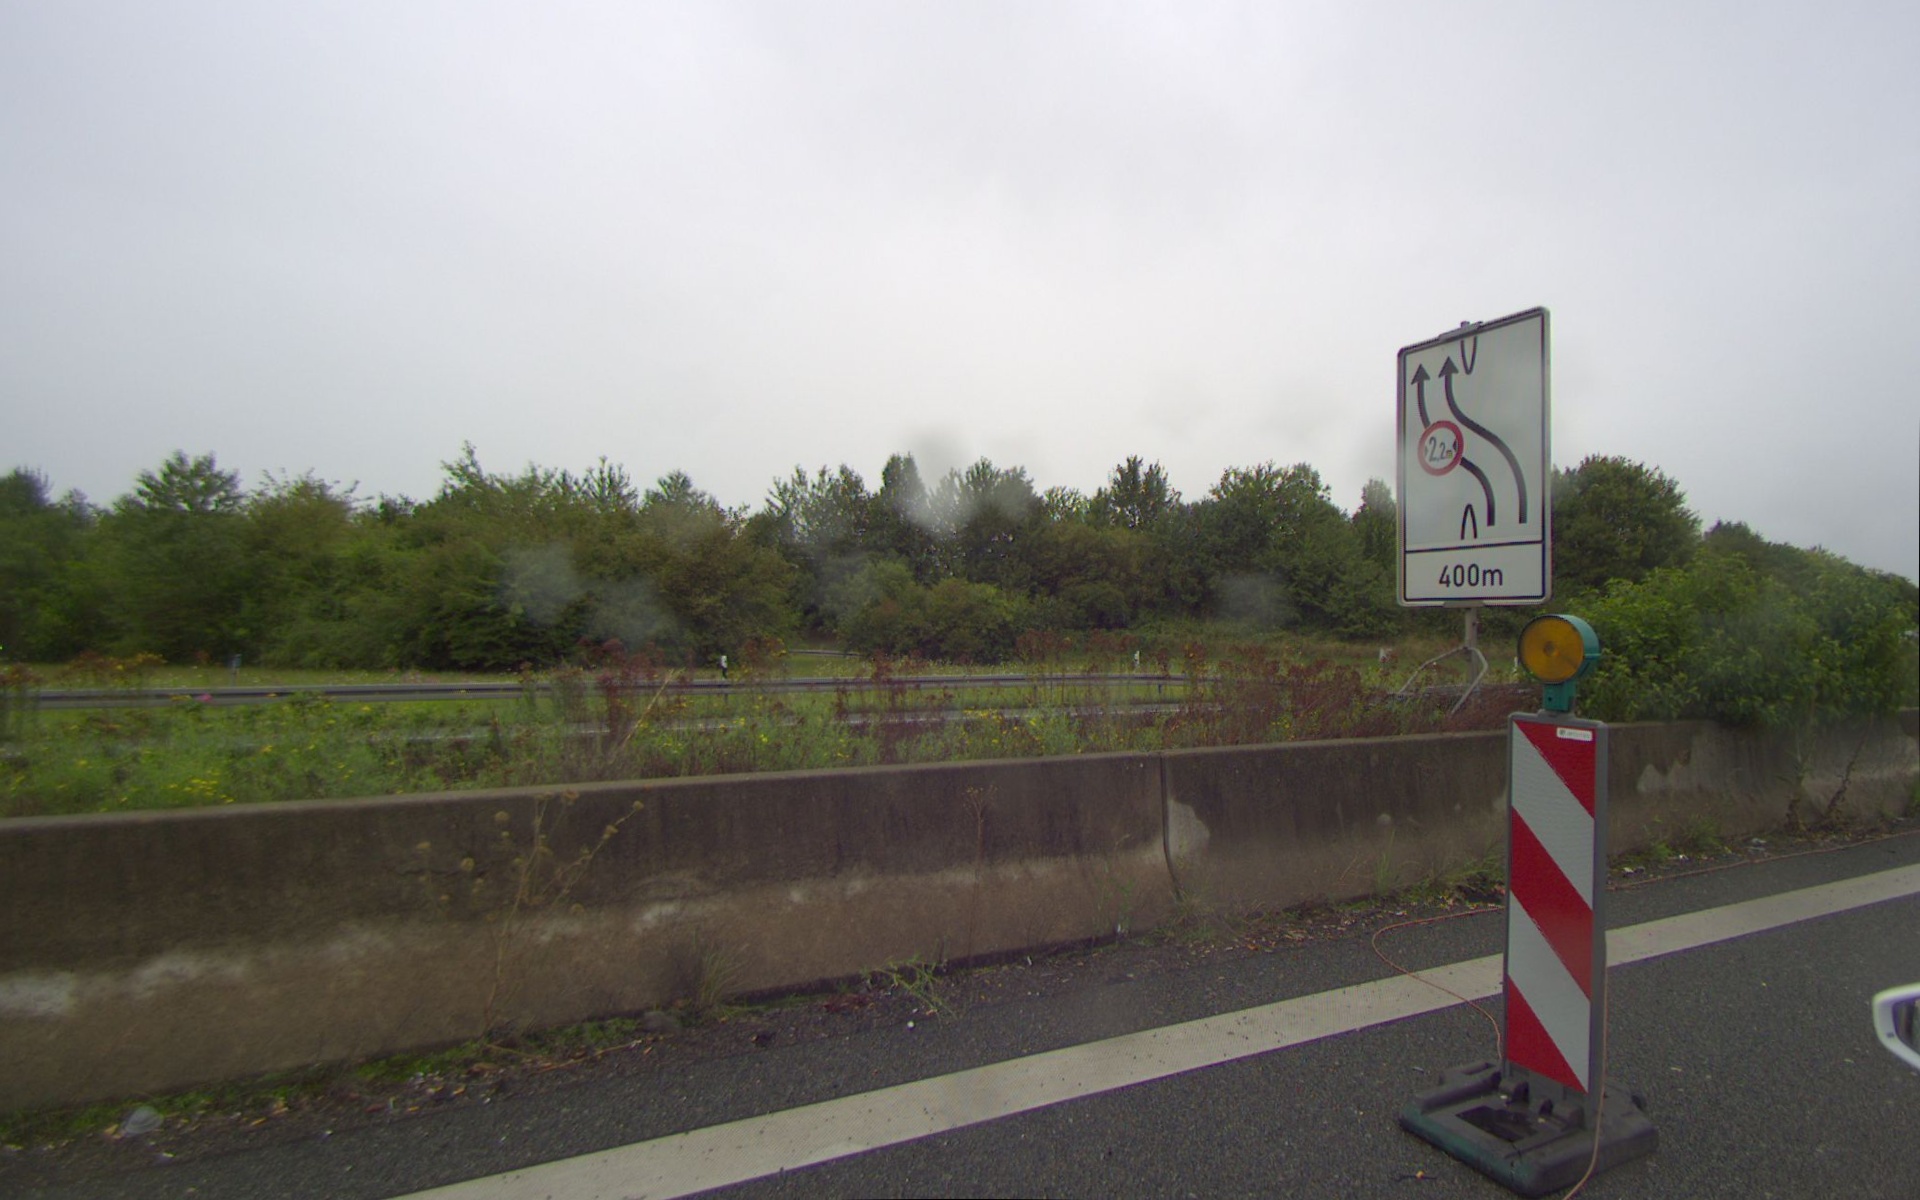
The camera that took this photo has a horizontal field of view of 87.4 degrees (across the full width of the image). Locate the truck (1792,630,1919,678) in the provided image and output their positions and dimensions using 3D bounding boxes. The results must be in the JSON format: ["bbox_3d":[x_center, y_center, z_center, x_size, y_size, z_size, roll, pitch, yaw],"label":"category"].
[{"bbox_3d":[47.078,2.780,52.465,6.318,2.460,1.996,0,-2,-11],"label":"truck"}]
